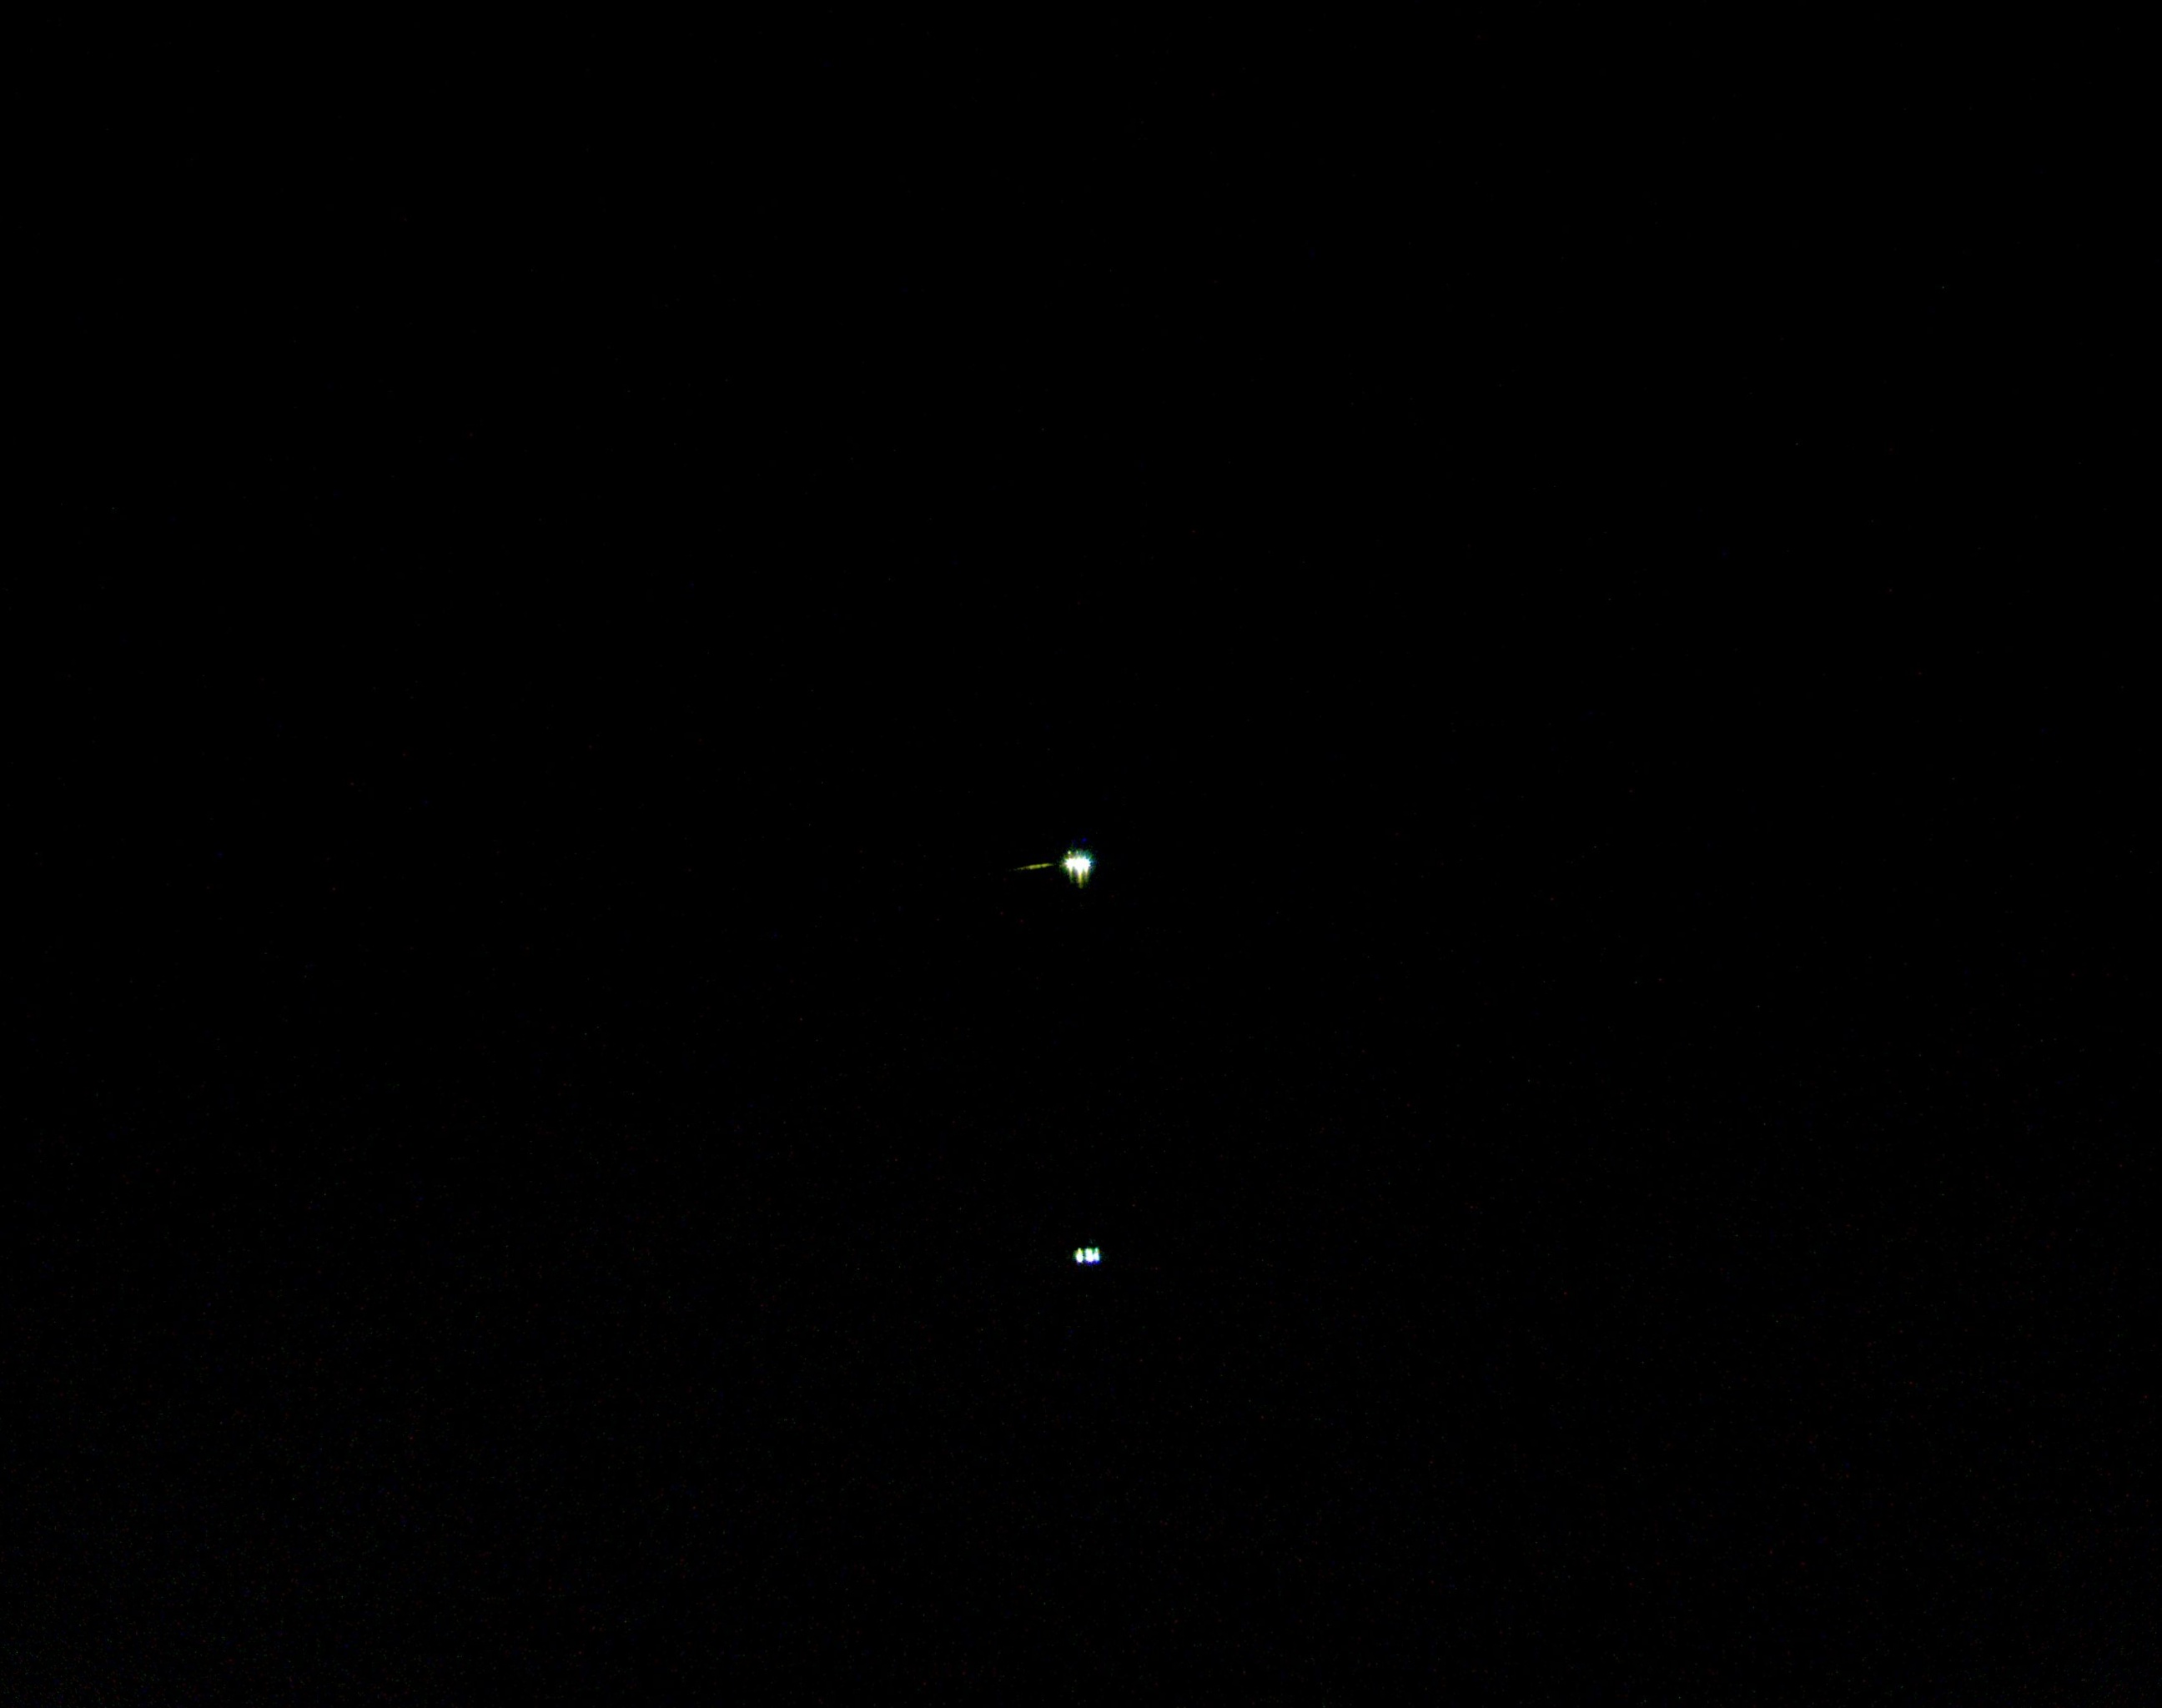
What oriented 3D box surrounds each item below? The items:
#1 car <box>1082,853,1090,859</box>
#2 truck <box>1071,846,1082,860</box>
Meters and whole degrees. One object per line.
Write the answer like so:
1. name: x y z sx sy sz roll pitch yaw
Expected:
1. car: 1.195 0.487 177.308 1.845 1.474 4.293 -3 -1 2
2. truck: -1.238 -0.227 223.129 3.004 3.876 12.889 -3 -1 0
